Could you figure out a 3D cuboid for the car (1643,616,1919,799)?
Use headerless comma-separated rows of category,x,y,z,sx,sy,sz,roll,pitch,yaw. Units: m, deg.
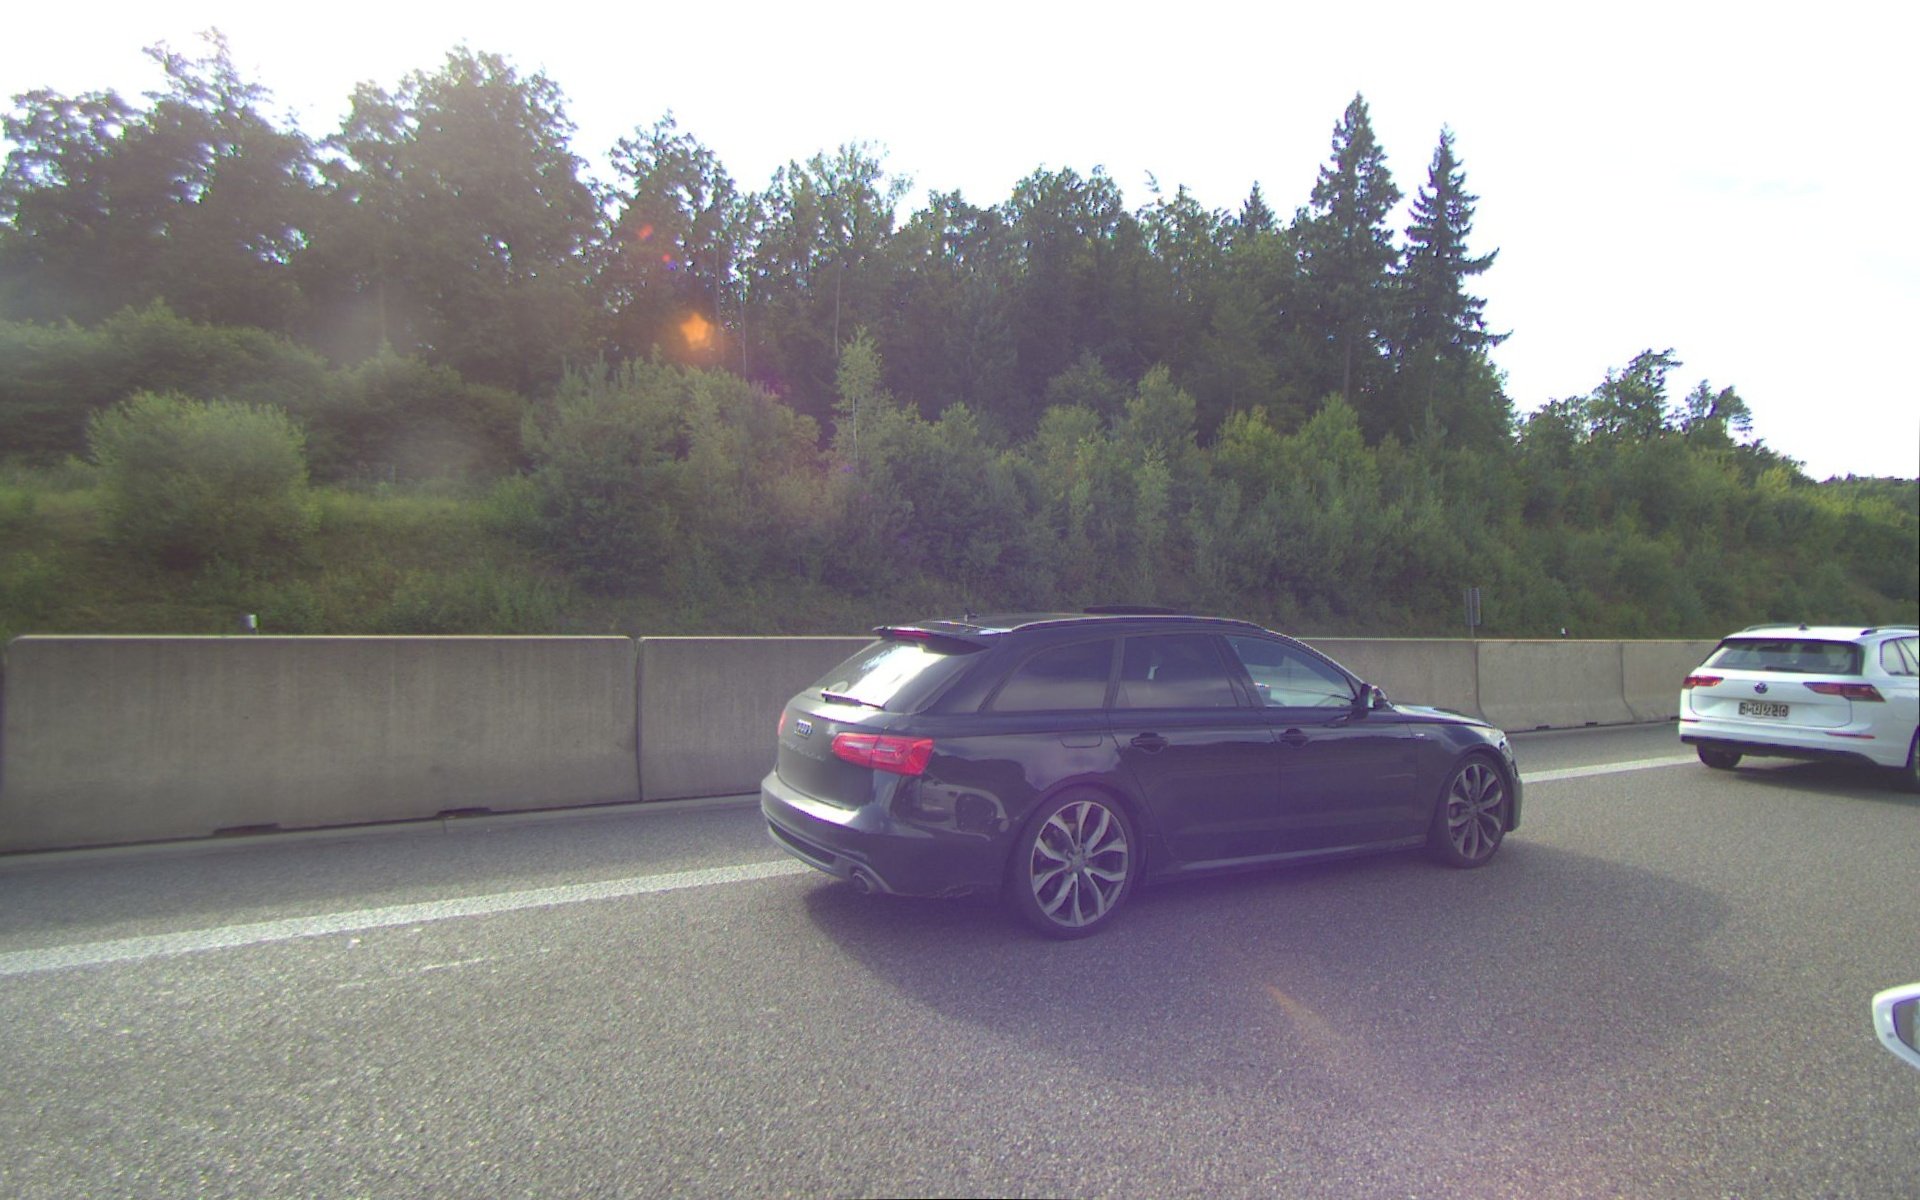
car,9.002,0.961,10.120,4.257,1.480,1.796,2,-1,-29

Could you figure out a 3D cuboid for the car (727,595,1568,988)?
car,1.235,0.767,5.770,4.692,1.475,1.834,1,0,-30
